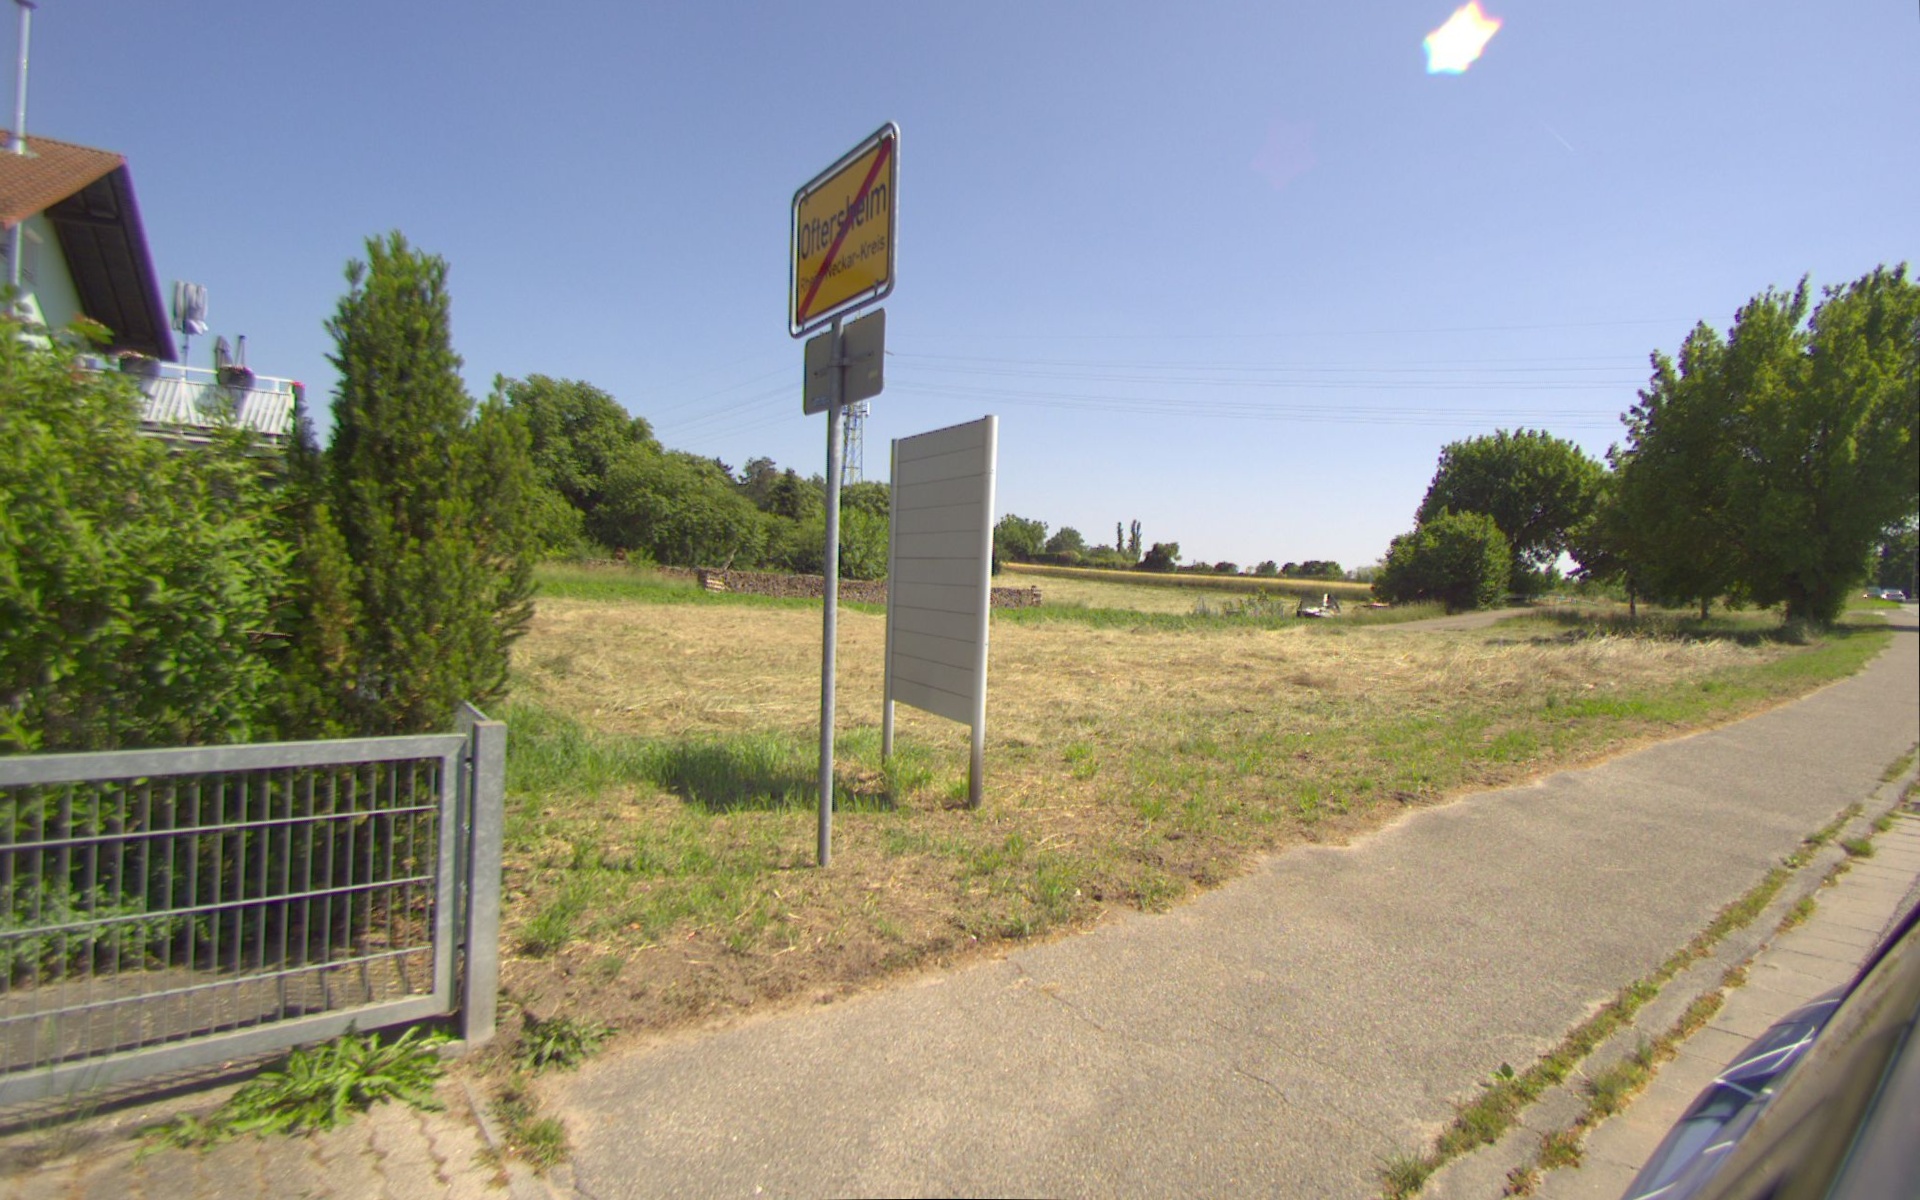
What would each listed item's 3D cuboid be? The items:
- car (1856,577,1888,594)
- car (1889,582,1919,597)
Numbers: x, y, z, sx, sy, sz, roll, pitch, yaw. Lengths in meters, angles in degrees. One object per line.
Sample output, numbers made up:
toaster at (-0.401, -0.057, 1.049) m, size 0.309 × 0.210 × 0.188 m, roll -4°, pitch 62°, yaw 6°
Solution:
car at (89.408, -1.406, 99.251) m, size 1.990 × 1.551 × 3.945 m, roll 1°, pitch 0°, yaw 38°
car at (101.553, -1.099, 108.720) m, size 1.870 × 1.592 × 4.416 m, roll 2°, pitch 1°, yaw 34°
